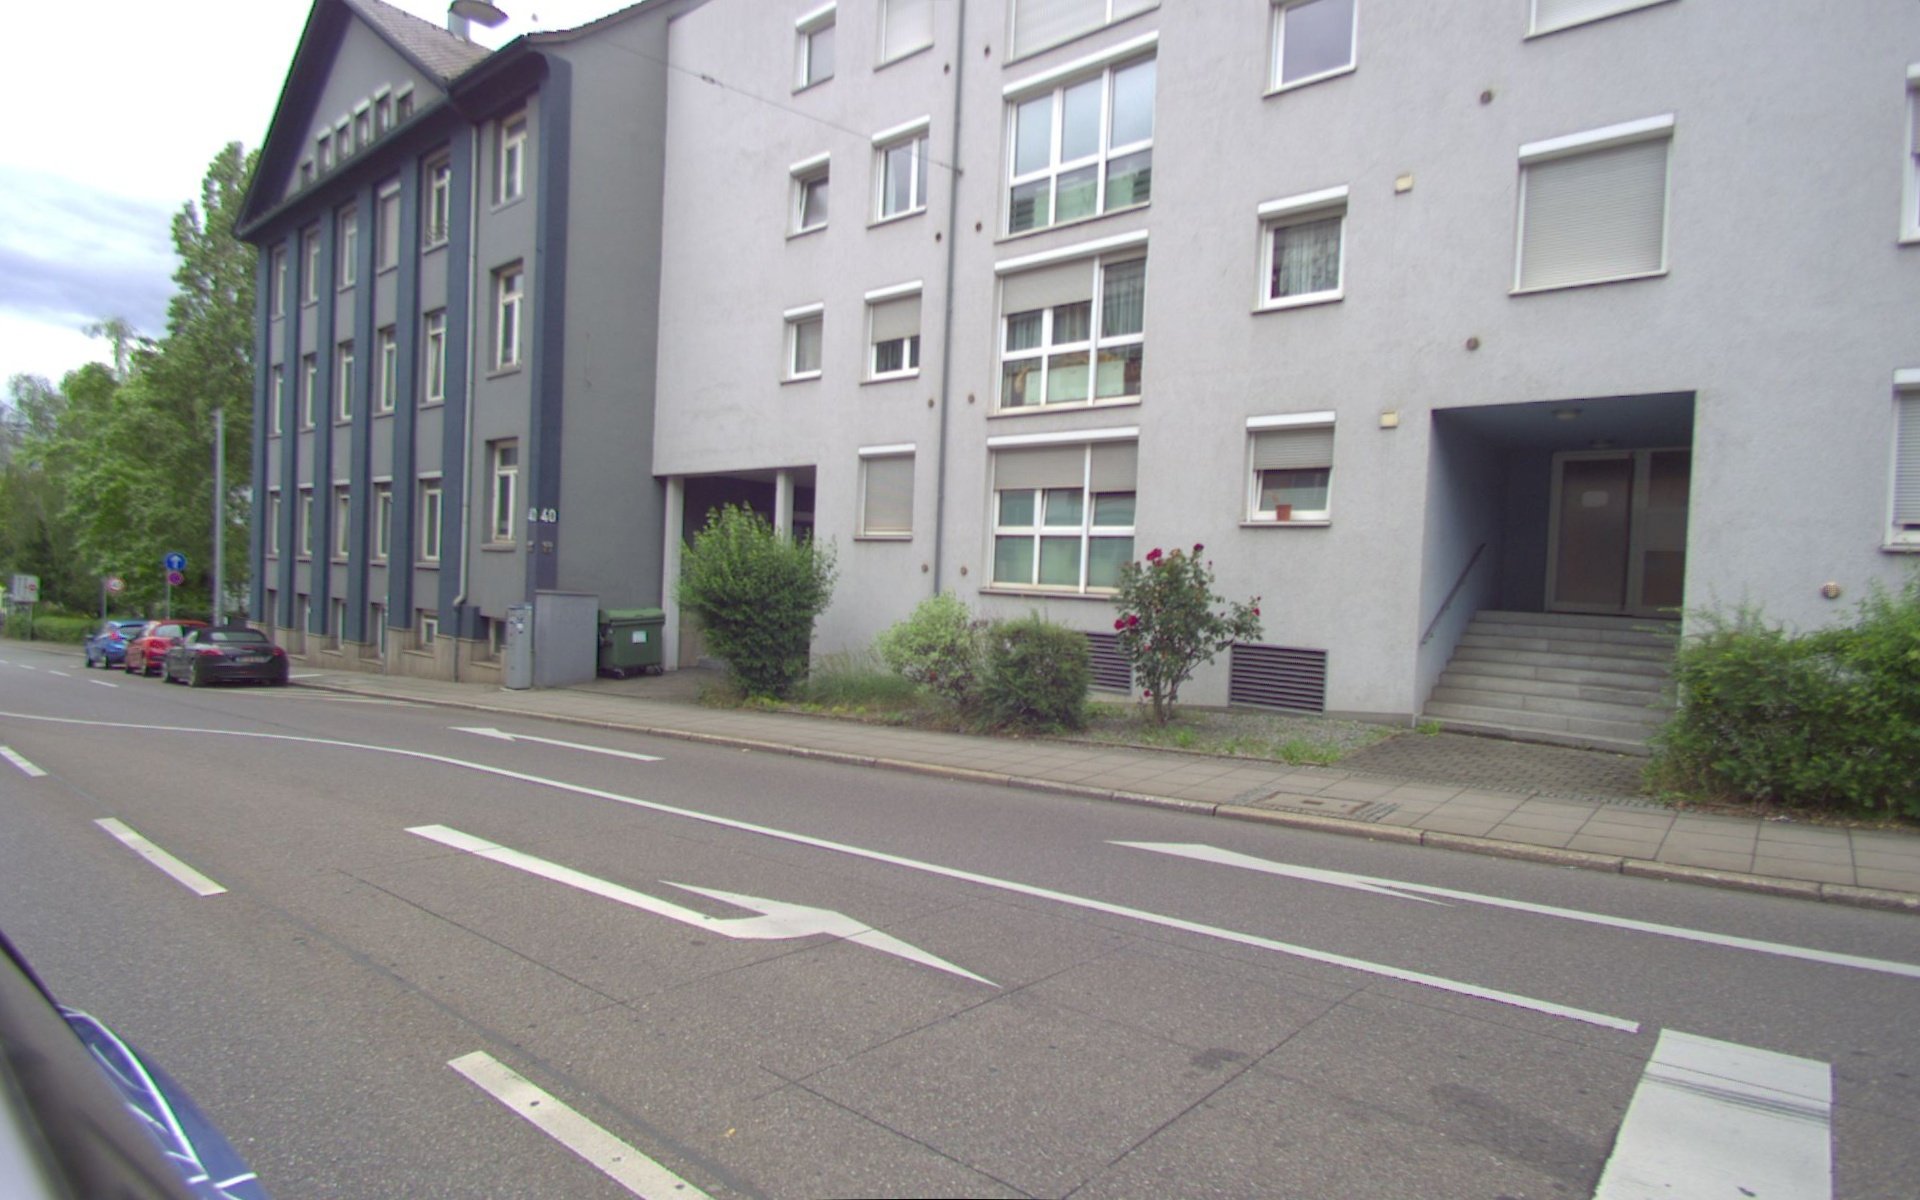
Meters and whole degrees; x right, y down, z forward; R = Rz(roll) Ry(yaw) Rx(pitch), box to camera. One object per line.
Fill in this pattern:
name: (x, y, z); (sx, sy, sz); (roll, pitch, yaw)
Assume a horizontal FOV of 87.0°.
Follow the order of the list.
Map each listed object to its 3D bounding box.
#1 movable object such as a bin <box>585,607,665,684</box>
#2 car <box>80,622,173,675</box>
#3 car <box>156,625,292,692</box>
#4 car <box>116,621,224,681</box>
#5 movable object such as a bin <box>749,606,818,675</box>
movable object such as a bin: (-6.975, 0.916, 21.056); (1.039, 1.518, 1.213); (-1, 0, 41)
car: (-25.586, 1.442, 31.043); (3.727, 1.460, 1.623); (-1, 0, 41)
car: (-17.126, 1.288, 23.503); (3.727, 1.403, 1.778); (-1, -2, 41)
car: (-21.345, 1.318, 27.300); (3.727, 1.460, 1.623); (-1, 0, 41)
movable object such as a bin: (-3.825, 0.862, 21.964); (1.078, 1.427, 1.026); (-1, 0, 41)
